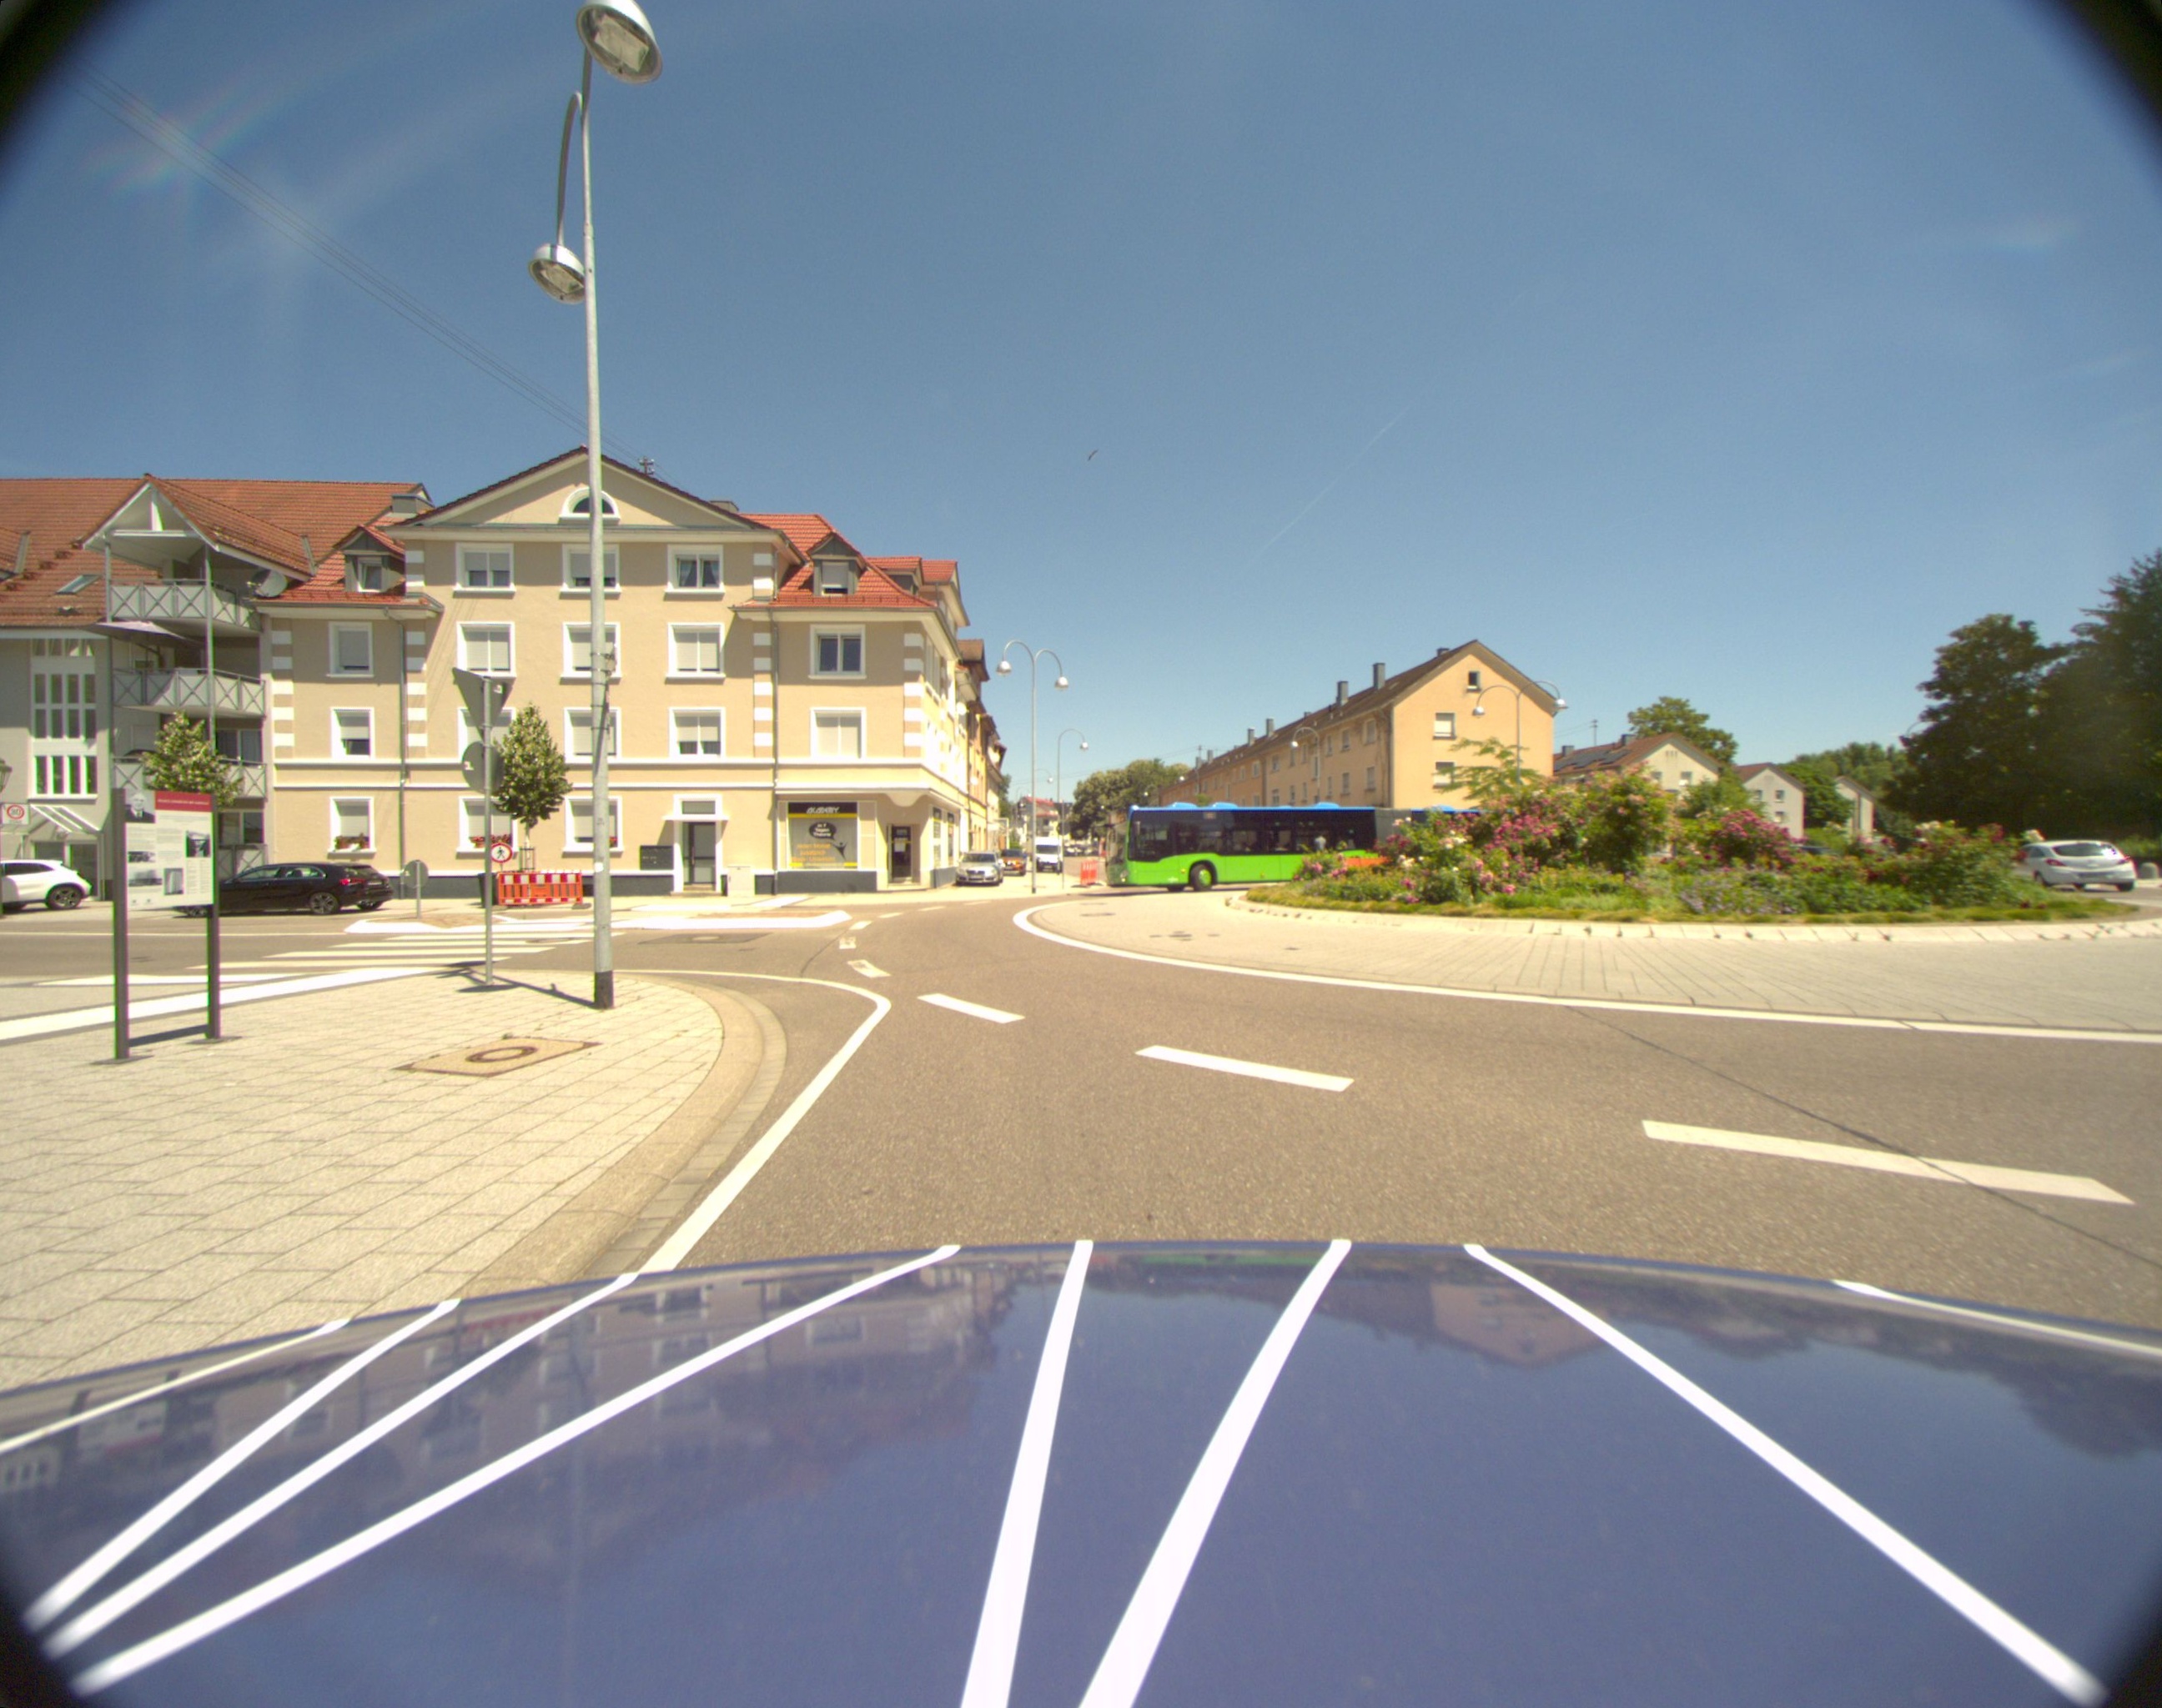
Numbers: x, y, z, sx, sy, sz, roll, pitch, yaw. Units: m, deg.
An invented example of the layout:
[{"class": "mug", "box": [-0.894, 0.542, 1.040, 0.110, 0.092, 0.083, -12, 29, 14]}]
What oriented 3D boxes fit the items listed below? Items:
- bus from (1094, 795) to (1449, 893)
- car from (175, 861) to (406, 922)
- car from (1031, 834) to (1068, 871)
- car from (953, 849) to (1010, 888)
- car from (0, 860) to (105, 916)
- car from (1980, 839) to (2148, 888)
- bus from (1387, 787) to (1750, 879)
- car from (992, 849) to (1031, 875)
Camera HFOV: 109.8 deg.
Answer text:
[{"class": "bus", "box": [6.961, -0.419, 27.723, 12.566, 3.062, 2.910, -2, 0, -13]}, {"class": "car", "box": [-21.587, 0.984, 20.941, 4.000, 1.438, 1.897, -1, 2, -10]}, {"class": "car", "box": [-2.222, -0.139, 55.033, 2.340, 2.442, 5.733, 2, 1, 0]}, {"class": "car", "box": [-4.169, 0.558, 32.308, 1.825, 1.403, 3.999, 2, 2, 1]}, {"class": "car", "box": [-30.274, 0.983, 20.693, 1.809, 1.438, 4.246, -1, 2, 1]}, {"class": "car", "box": [29.483, 0.254, 22.971, 1.780, 1.348, 4.062, 0, 1, 32]}, {"class": "bus", "box": [18.764, -0.780, 29.653, 12.556, 3.043, 2.930, -2, 0, -4]}, {"class": "car", "box": [-4.034, 0.419, 44.540, 1.825, 1.402, 3.999, 2, 1, 1]}]
